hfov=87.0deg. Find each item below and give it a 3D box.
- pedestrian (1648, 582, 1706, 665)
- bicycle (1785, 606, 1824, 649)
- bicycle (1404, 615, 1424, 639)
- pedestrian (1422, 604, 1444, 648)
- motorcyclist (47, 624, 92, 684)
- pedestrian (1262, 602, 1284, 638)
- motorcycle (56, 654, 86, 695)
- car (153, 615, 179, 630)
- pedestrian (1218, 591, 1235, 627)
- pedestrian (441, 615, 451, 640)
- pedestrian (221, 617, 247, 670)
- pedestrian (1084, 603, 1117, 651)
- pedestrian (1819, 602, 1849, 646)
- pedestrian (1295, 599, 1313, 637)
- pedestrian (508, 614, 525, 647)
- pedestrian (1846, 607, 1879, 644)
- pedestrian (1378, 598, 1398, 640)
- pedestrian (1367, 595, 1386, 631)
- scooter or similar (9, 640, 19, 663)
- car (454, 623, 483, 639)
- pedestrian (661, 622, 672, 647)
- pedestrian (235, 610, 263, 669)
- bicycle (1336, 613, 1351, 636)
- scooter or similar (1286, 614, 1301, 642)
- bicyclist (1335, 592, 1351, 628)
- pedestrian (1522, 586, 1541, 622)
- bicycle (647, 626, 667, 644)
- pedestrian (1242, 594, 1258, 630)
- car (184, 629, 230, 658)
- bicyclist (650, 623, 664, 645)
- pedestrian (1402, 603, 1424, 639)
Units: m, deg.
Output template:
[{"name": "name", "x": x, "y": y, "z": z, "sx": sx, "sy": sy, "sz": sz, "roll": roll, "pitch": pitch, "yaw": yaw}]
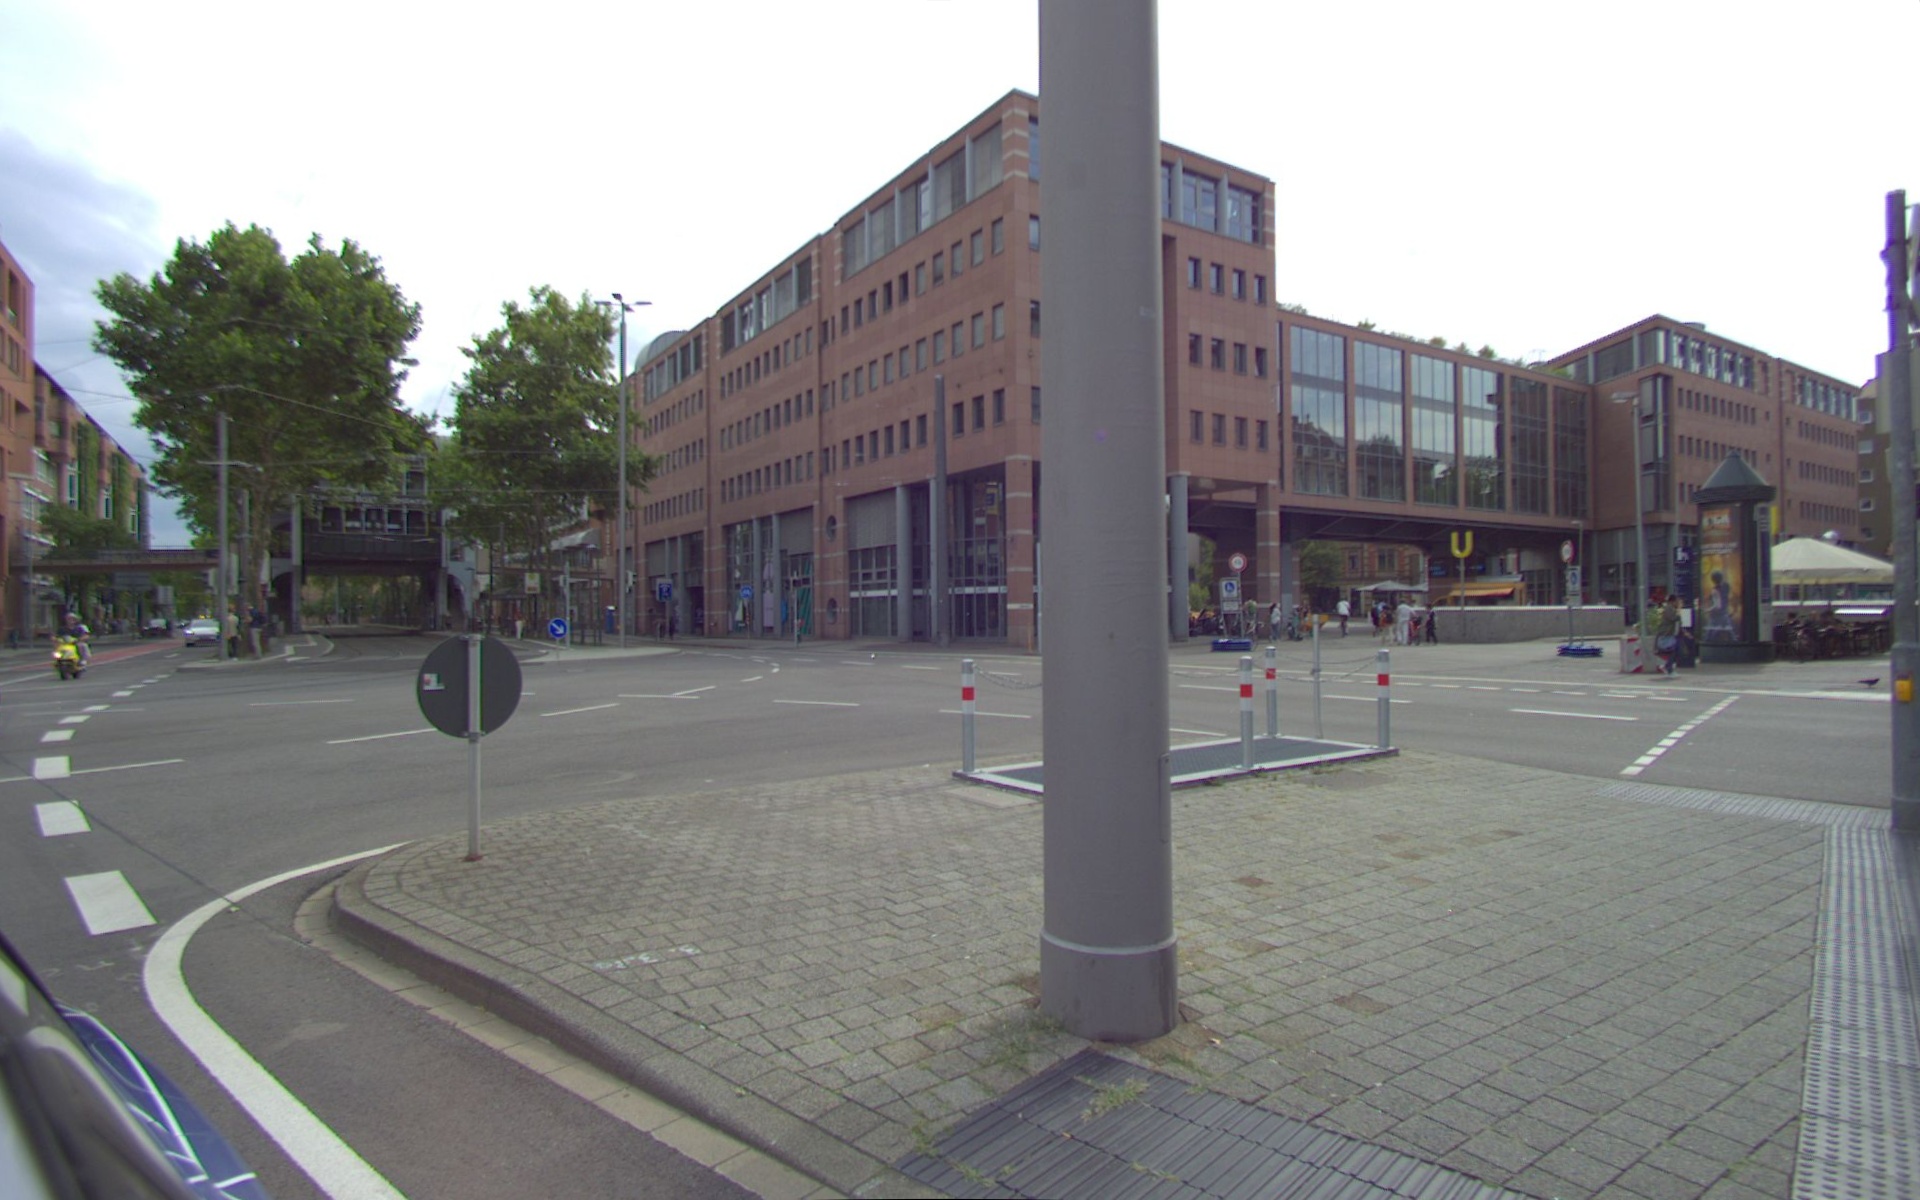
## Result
[{"name": "pedestrian", "x": 14.129, "y": 0.463, "z": 19.964, "sx": 0.682, "sy": 1.606, "sz": 0.657, "roll": -1, "pitch": -1, "yaw": 14}, {"name": "bicycle", "x": 20.613, "y": 0.654, "z": 24.723, "sx": 0.472, "sy": 0.996, "sz": 1.769, "roll": -2, "pitch": -1, "yaw": 32}, {"name": "bicycle", "x": 17.778, "y": 1.059, "z": 39.664, "sx": 0.469, "sy": 0.894, "sz": 1.779, "roll": -1, "pitch": -1, "yaw": 16}, {"name": "pedestrian", "x": 17.602, "y": 0.964, "z": 37.648, "sx": 0.498, "sy": 1.589, "sz": 0.522, "roll": -1, "pitch": -1, "yaw": -31}, {"name": "motorcyclist", "x": -23.398, "y": 1.403, "z": 26.577, "sx": 0.859, "sy": 1.528, "sz": 1.045, "roll": 0, "pitch": -1, "yaw": -43}, {"name": "pedestrian", "x": 13.084, "y": 0.828, "z": 42.330, "sx": 0.644, "sy": 1.484, "sz": 0.582, "roll": -1, "pitch": -1, "yaw": -33}, {"name": "motorcycle", "x": -23.239, "y": 1.937, "z": 26.449, "sx": 0.562, "sy": 0.975, "sz": 2.016, "roll": 0, "pitch": -1, "yaw": -42}, {"name": "car", "x": -90.277, "y": 2.560, "z": 115.036, "sx": 1.925, "sy": 1.613, "sz": 4.011, "roll": -1, "pitch": -1, "yaw": -33}, {"name": "pedestrian", "x": 12.619, "y": 0.442, "z": 47.919, "sx": 0.512, "sy": 1.676, "sz": 0.582, "roll": -1, "pitch": -1, "yaw": -32}, {"name": "pedestrian", "x": -35.986, "y": 1.930, "z": 70.858, "sx": 0.474, "sy": 1.784, "sz": 0.482, "roll": 0, "pitch": -1, "yaw": -40}, {"name": "pedestrian", "x": -24.727, "y": 1.473, "z": 34.495, "sx": 0.527, "sy": 1.805, "sz": 0.578, "roll": -1, "pitch": -1, "yaw": -13}, {"name": "pedestrian", "x": 4.514, "y": 0.863, "z": 32.501, "sx": 0.785, "sy": 1.484, "sz": 0.686, "roll": -1, "pitch": -1, "yaw": -33}, {"name": "pedestrian", "x": 22.609, "y": 0.617, "z": 26.189, "sx": 0.440, "sy": 1.142, "sz": 0.530, "roll": -2, "pitch": -1, "yaw": 28}, {"name": "pedestrian", "x": 16.337, "y": 0.837, "z": 48.057, "sx": 0.677, "sy": 1.775, "sz": 0.497, "roll": -1, "pitch": -1, "yaw": 10}, {"name": "pedestrian", "x": -21.378, "y": 1.447, "z": 48.786, "sx": 0.648, "sy": 1.549, "sz": 0.560, "roll": -1, "pitch": 1, "yaw": -37}, {"name": "pedestrian", "x": 24.367, "y": 0.687, "z": 27.330, "sx": 0.451, "sy": 0.969, "sz": 0.525, "roll": -1, "pitch": -1, "yaw": -29}, {"name": "pedestrian", "x": 16.911, "y": 0.751, "z": 40.018, "sx": 0.628, "sy": 1.654, "sz": 0.464, "roll": -2, "pitch": -1, "yaw": 18}, {"name": "pedestrian", "x": 19.336, "y": 0.604, "z": 46.959, "sx": 0.512, "sy": 1.676, "sz": 0.582, "roll": -1, "pitch": -1, "yaw": -32}, {"name": "scooter or similar", "x": -54.309, "y": 2.947, "z": 58.105, "sx": 0.268, "sy": 1.267, "sz": 0.924, "roll": -1, "pitch": -1, "yaw": -32}, {"name": "car", "x": -46.544, "y": 2.944, "z": 95.864, "sx": 1.838, "sy": 1.484, "sz": 4.307, "roll": -1, "pitch": -1, "yaw": -34}, {"name": "pedestrian", "x": -19.184, "y": 2.236, "z": 66.058, "sx": 0.520, "sy": 1.585, "sz": 0.602, "roll": 0, "pitch": -1, "yaw": -33}, {"name": "pedestrian", "x": -23.175, "y": 1.286, "z": 32.991, "sx": 0.682, "sy": 1.889, "sz": 0.809, "roll": -1, "pitch": -1, "yaw": -32}, {"name": "bicycle", "x": 17.556, "y": 1.101, "z": 46.347, "sx": 0.469, "sy": 0.996, "sz": 1.779, "roll": -1, "pitch": -1, "yaw": 16}, {"name": "scooter or similar", "x": 14.529, "y": 1.209, "z": 44.067, "sx": 0.378, "sy": 1.178, "sz": 1.290, "roll": -1, "pitch": -1, "yaw": 9}, {"name": "bicyclist", "x": 17.454, "y": 0.453, "z": 46.124, "sx": 0.542, "sy": 1.581, "sz": 0.879, "roll": -1, "pitch": -1, "yaw": 17}, {"name": "pedestrian", "x": 26.831, "y": 0.195, "z": 47.489, "sx": 0.512, "sy": 1.676, "sz": 0.582, "roll": -1, "pitch": -1, "yaw": -32}, {"name": "bicycle", "x": -19.543, "y": 2.256, "z": 65.248, "sx": 1.590, "sy": 1.126, "sz": 0.539, "roll": -2, "pitch": -1, "yaw": 45}, {"name": "pedestrian", "x": 13.410, "y": 0.549, "z": 46.787, "sx": 0.577, "sy": 1.676, "sz": 0.517, "roll": -2, "pitch": -1, "yaw": 24}, {"name": "car", "x": -45.077, "y": 2.573, "z": 60.626, "sx": 1.925, "sy": 1.613, "sz": 4.011, "roll": -1, "pitch": -1, "yaw": -33}, {"name": "bicyclist", "x": -19.528, "y": 2.162, "z": 65.238, "sx": 0.738, "sy": 1.391, "sz": 0.544, "roll": -2, "pitch": -1, "yaw": 45}, {"name": "pedestrian", "x": 17.790, "y": 0.830, "z": 39.775, "sx": 0.627, "sy": 1.385, "sz": 0.860, "roll": -1, "pitch": -1, "yaw": 15}]
